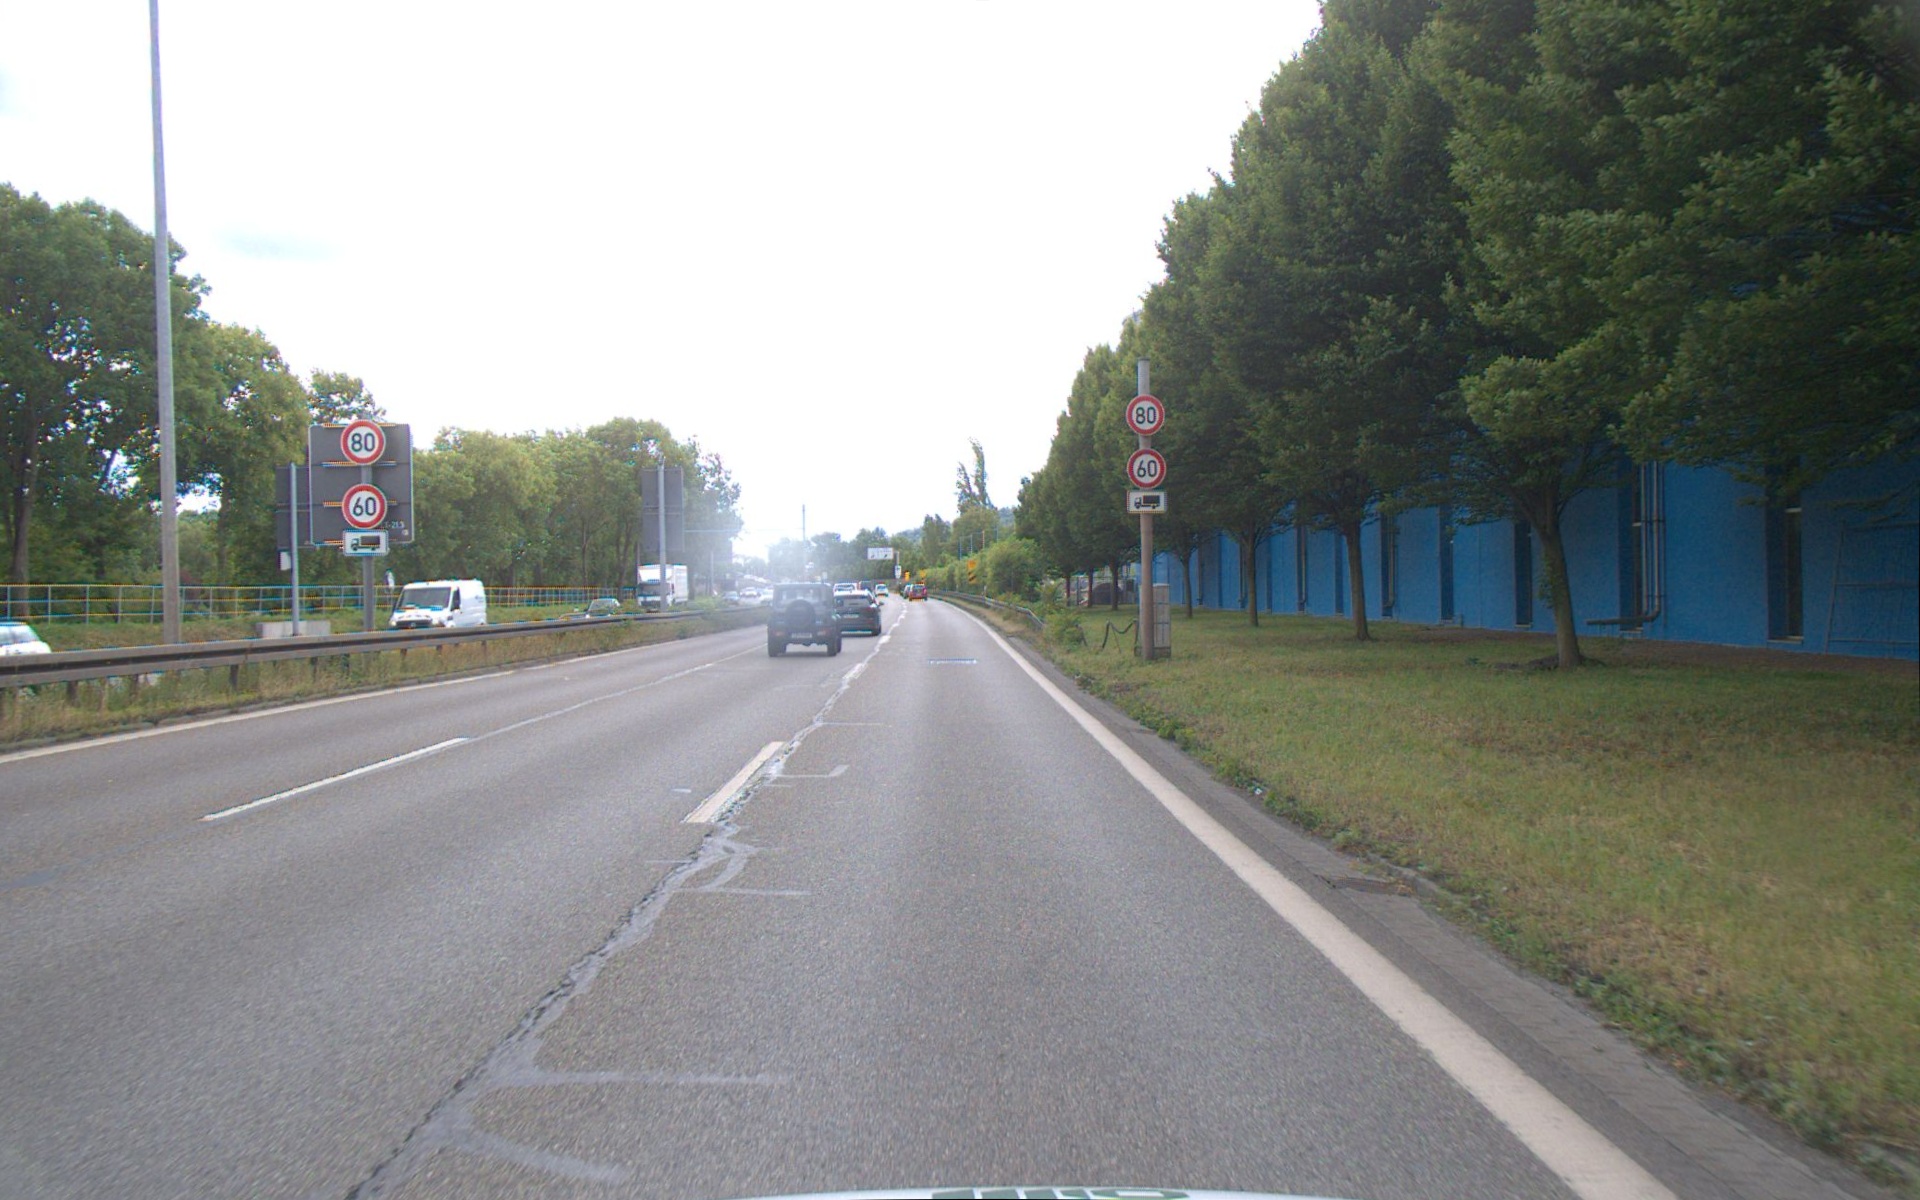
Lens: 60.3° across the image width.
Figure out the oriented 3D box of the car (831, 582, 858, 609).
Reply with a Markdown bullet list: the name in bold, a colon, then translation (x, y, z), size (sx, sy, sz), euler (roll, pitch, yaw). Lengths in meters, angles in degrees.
- **car**: translation (-7.951, -0.347, 114.013), size (1.663, 1.772, 3.999), euler (-2, 0, -2)

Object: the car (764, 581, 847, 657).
- **car**: translation (-3.669, 0.413, 39.855), size (1.663, 1.715, 3.999), euler (-1, 1, -1)

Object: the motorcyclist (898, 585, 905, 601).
- **motorcyclist**: translation (-7.046, -0.843, 199.006), size (0.775, 1.791, 0.922), euler (-1, 1, -1)

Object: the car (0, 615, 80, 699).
- **car**: translation (-17.734, 1.039, 29.821), size (1.625, 1.423, 3.988), euler (-1, 1, -1)

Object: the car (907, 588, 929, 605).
- **car**: translation (-3.963, -0.352, 156.123), size (1.935, 1.448, 4.897), euler (-2, 0, -3)

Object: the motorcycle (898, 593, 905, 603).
- **motorcycle**: translation (-7.053, -0.254, 199.020), size (0.775, 1.240, 2.329), euler (-1, 1, -2)

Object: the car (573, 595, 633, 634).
- **car**: translation (-17.045, 0.654, 79.094), size (1.840, 1.755, 4.147), euler (-1, 1, 1)

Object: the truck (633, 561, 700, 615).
- **truck**: translation (-20.925, -0.812, 118.628), size (2.829, 3.641, 9.588), euler (-2, 0, 1)

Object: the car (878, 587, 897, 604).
- **car**: translation (-9.216, -0.571, 210.889), size (1.975, 1.968, 4.893), euler (-2, 0, -7)

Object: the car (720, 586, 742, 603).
- **car**: translation (-23.620, -0.533, 170.834), size (1.691, 1.633, 4.041), euler (-3, 1, -1)

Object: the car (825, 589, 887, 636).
- **car**: translation (-3.364, 0.393, 54.280), size (1.807, 1.448, 4.899), euler (-1, 0, -1)

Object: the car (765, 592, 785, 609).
- **car**: translation (-20.077, 0.032, 179.413), size (1.663, 1.633, 4.537), euler (-3, 1, -1)

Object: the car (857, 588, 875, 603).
- **car**: translation (-12.924, -0.577, 227.178), size (1.977, 1.968, 4.889), euler (-2, 0, -10)

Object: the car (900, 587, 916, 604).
- **car**: translation (-5.540, -0.445, 177.096), size (1.663, 1.772, 4.392), euler (-1, 0, -1)

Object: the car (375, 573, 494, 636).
- **car**: translation (-17.808, 0.136, 56.380), size (2.180, 1.982, 5.475), euler (-1, 0, 1)
